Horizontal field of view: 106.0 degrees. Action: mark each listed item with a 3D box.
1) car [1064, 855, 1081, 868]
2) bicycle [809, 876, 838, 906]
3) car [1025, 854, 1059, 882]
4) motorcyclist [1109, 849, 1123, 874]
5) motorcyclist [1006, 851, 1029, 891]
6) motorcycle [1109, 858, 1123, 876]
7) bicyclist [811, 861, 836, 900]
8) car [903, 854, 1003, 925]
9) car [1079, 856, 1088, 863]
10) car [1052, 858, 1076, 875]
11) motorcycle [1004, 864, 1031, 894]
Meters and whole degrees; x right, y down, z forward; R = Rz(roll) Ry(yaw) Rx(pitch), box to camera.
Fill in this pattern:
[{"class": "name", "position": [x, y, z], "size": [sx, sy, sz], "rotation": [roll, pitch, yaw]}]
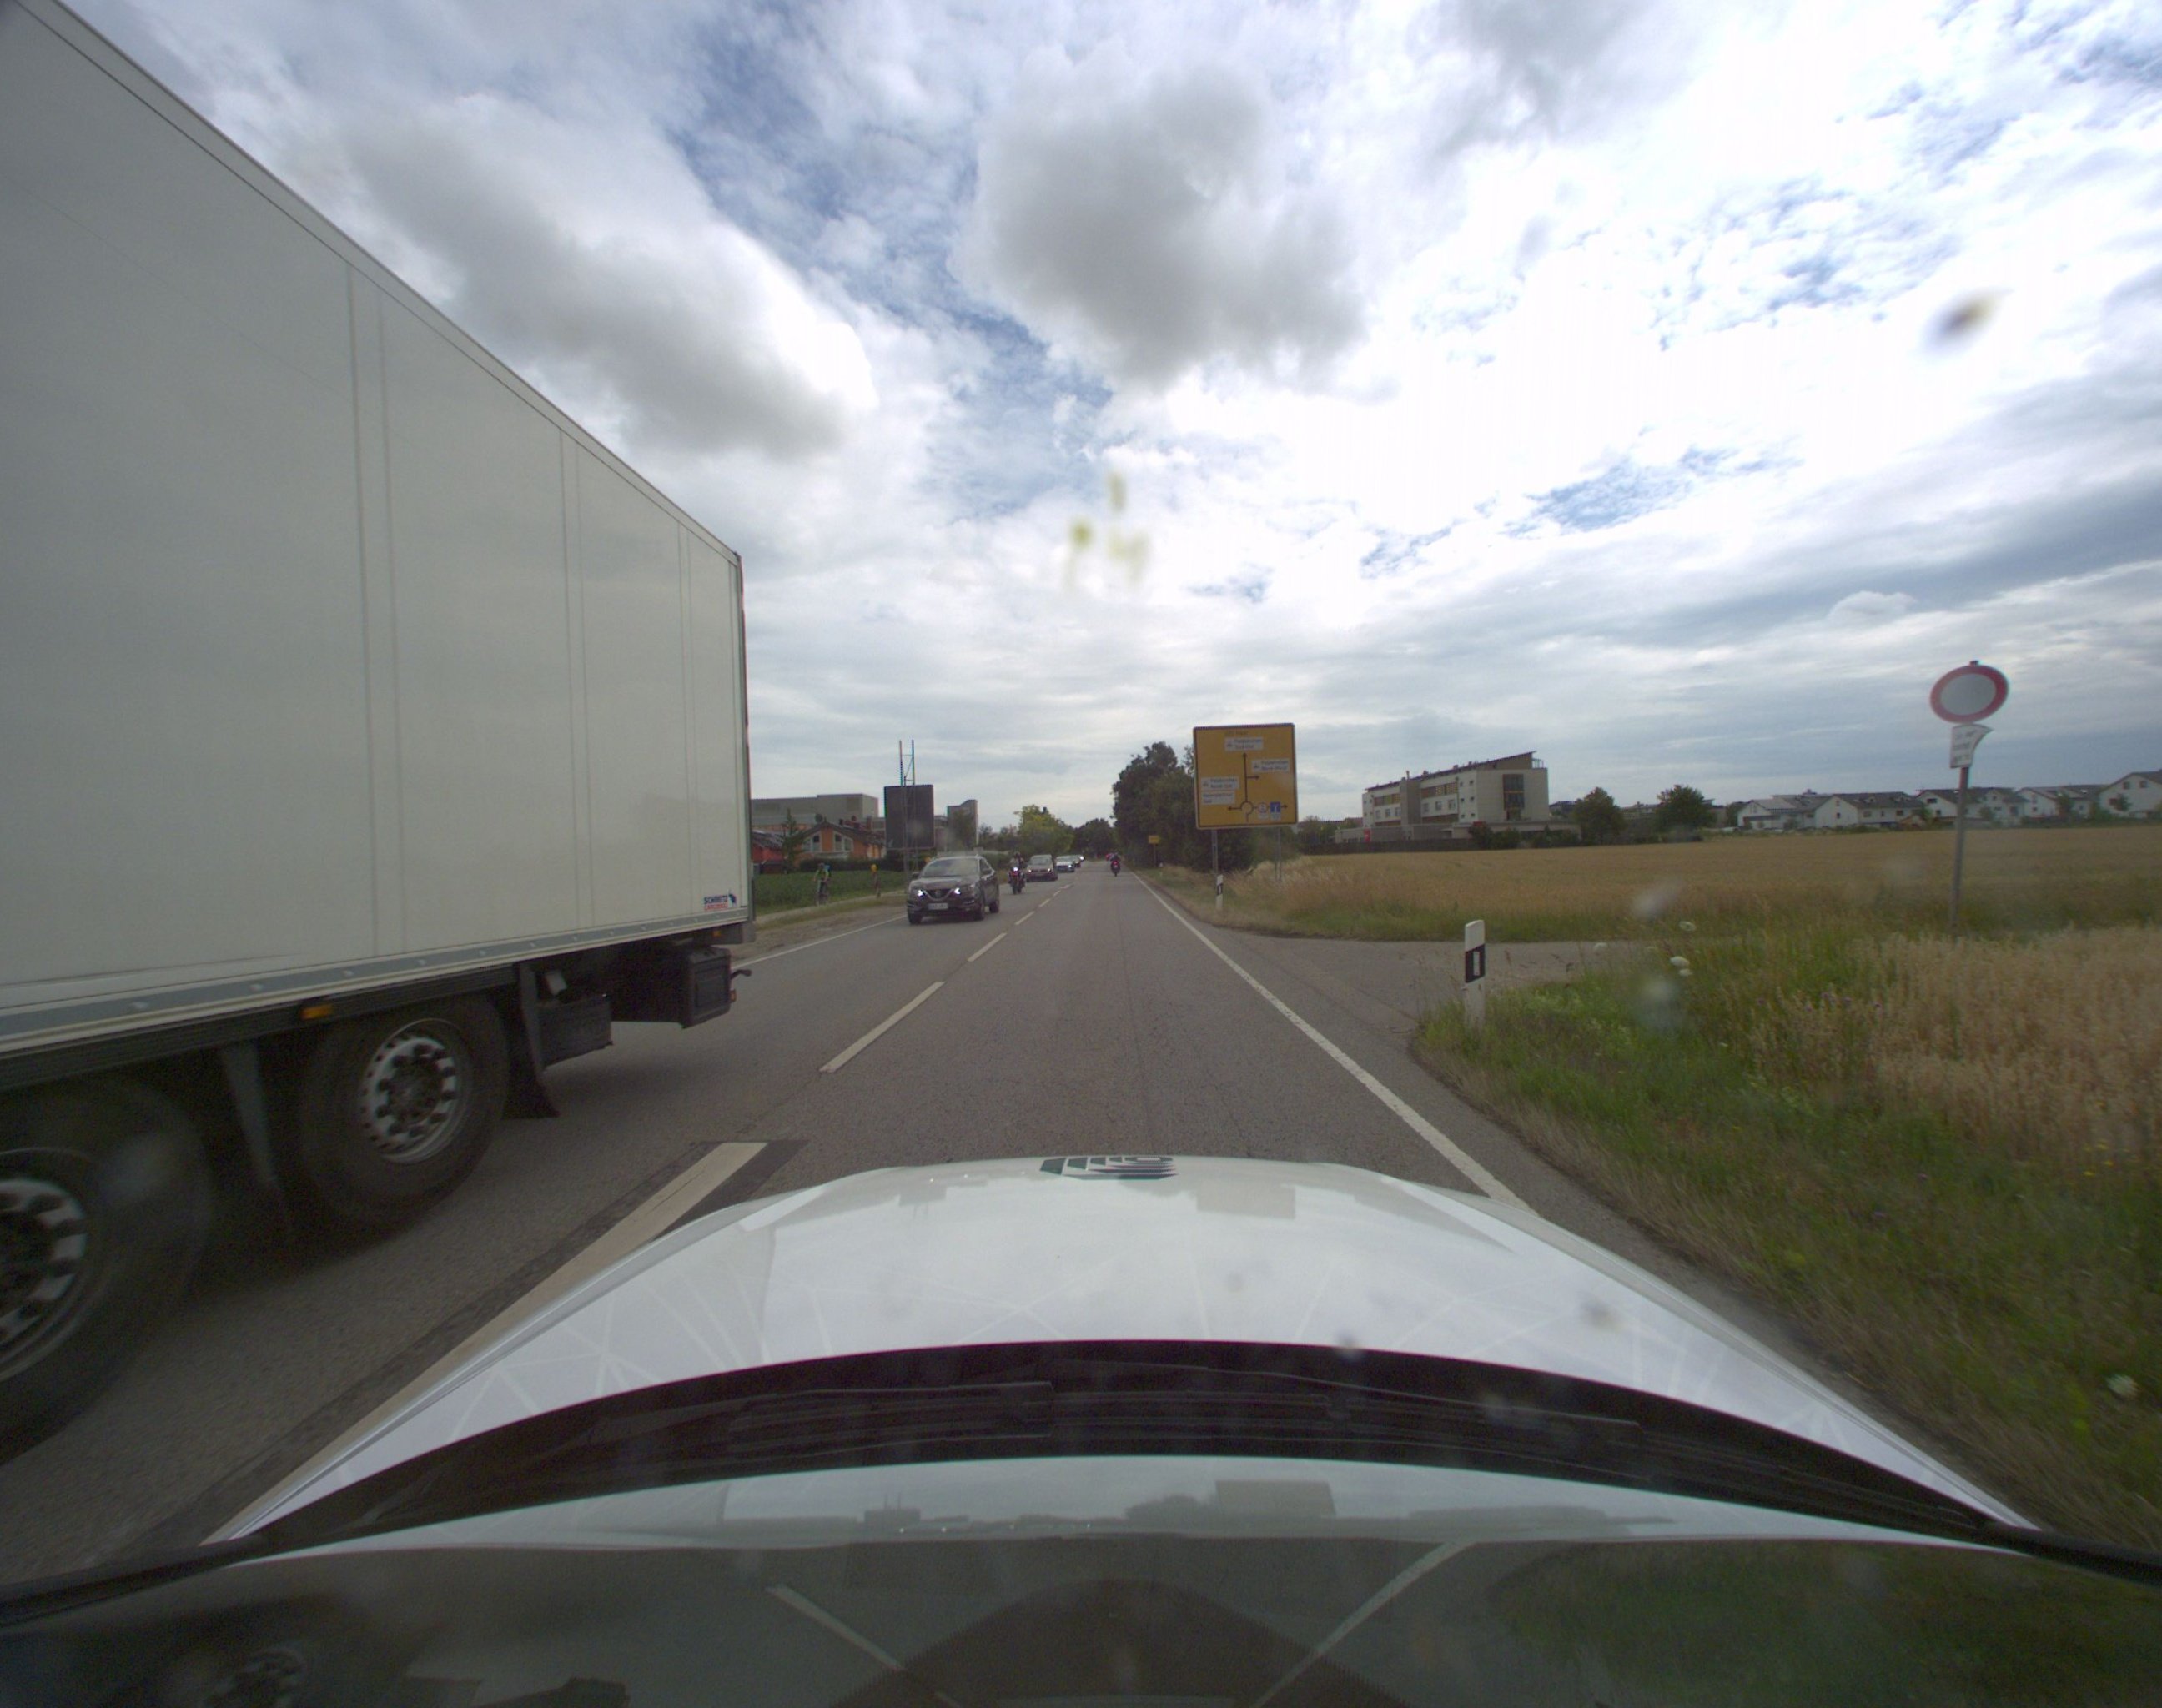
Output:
[{"class": "car", "position": [-0.971, 0.893, 95.598], "size": [1.846, 1.464, 4.372], "rotation": [-3, 0, 1]}, {"class": "bicycle", "position": [-10.737, 1.513, 33.948], "size": [0.527, 1.156, 1.795], "rotation": [-3, 0, 2]}, {"class": "car", "position": [-2.319, 0.824, 49.750], "size": [1.698, 1.540, 4.302], "rotation": [-3, 0, 1]}, {"class": "motorcyclist", "position": [2.344, 0.513, 54.739], "size": [0.858, 1.623, 1.191], "rotation": [-2, 0, 1]}, {"class": "motorcyclist", "position": [-2.581, 0.680, 33.153], "size": [0.794, 1.573, 1.078], "rotation": [-2, 0, 1]}, {"class": "motorcycle", "position": [2.360, 0.881, 54.756], "size": [0.893, 1.158, 2.621], "rotation": [-2, 0, 1]}, {"class": "bicyclist", "position": [-10.761, 1.088, 34.097], "size": [0.527, 1.584, 1.223], "rotation": [-3, 0, 1]}, {"class": "car", "position": [-3.195, 0.825, 21.213], "size": [1.722, 1.586, 4.506], "rotation": [-3, 0, 2]}, {"class": "car", "position": [0.529, 1.161, 169.903], "size": [1.809, 1.494, 4.205], "rotation": [-3, 0, 1]}, {"class": "car", "position": [-1.452, 1.064, 71.606], "size": [1.766, 1.373, 4.101], "rotation": [-3, 0, 2]}, {"class": "motorcycle", "position": [-2.570, 0.993, 33.160], "size": [0.794, 1.158, 2.621], "rotation": [-2, 0, 2]}]
